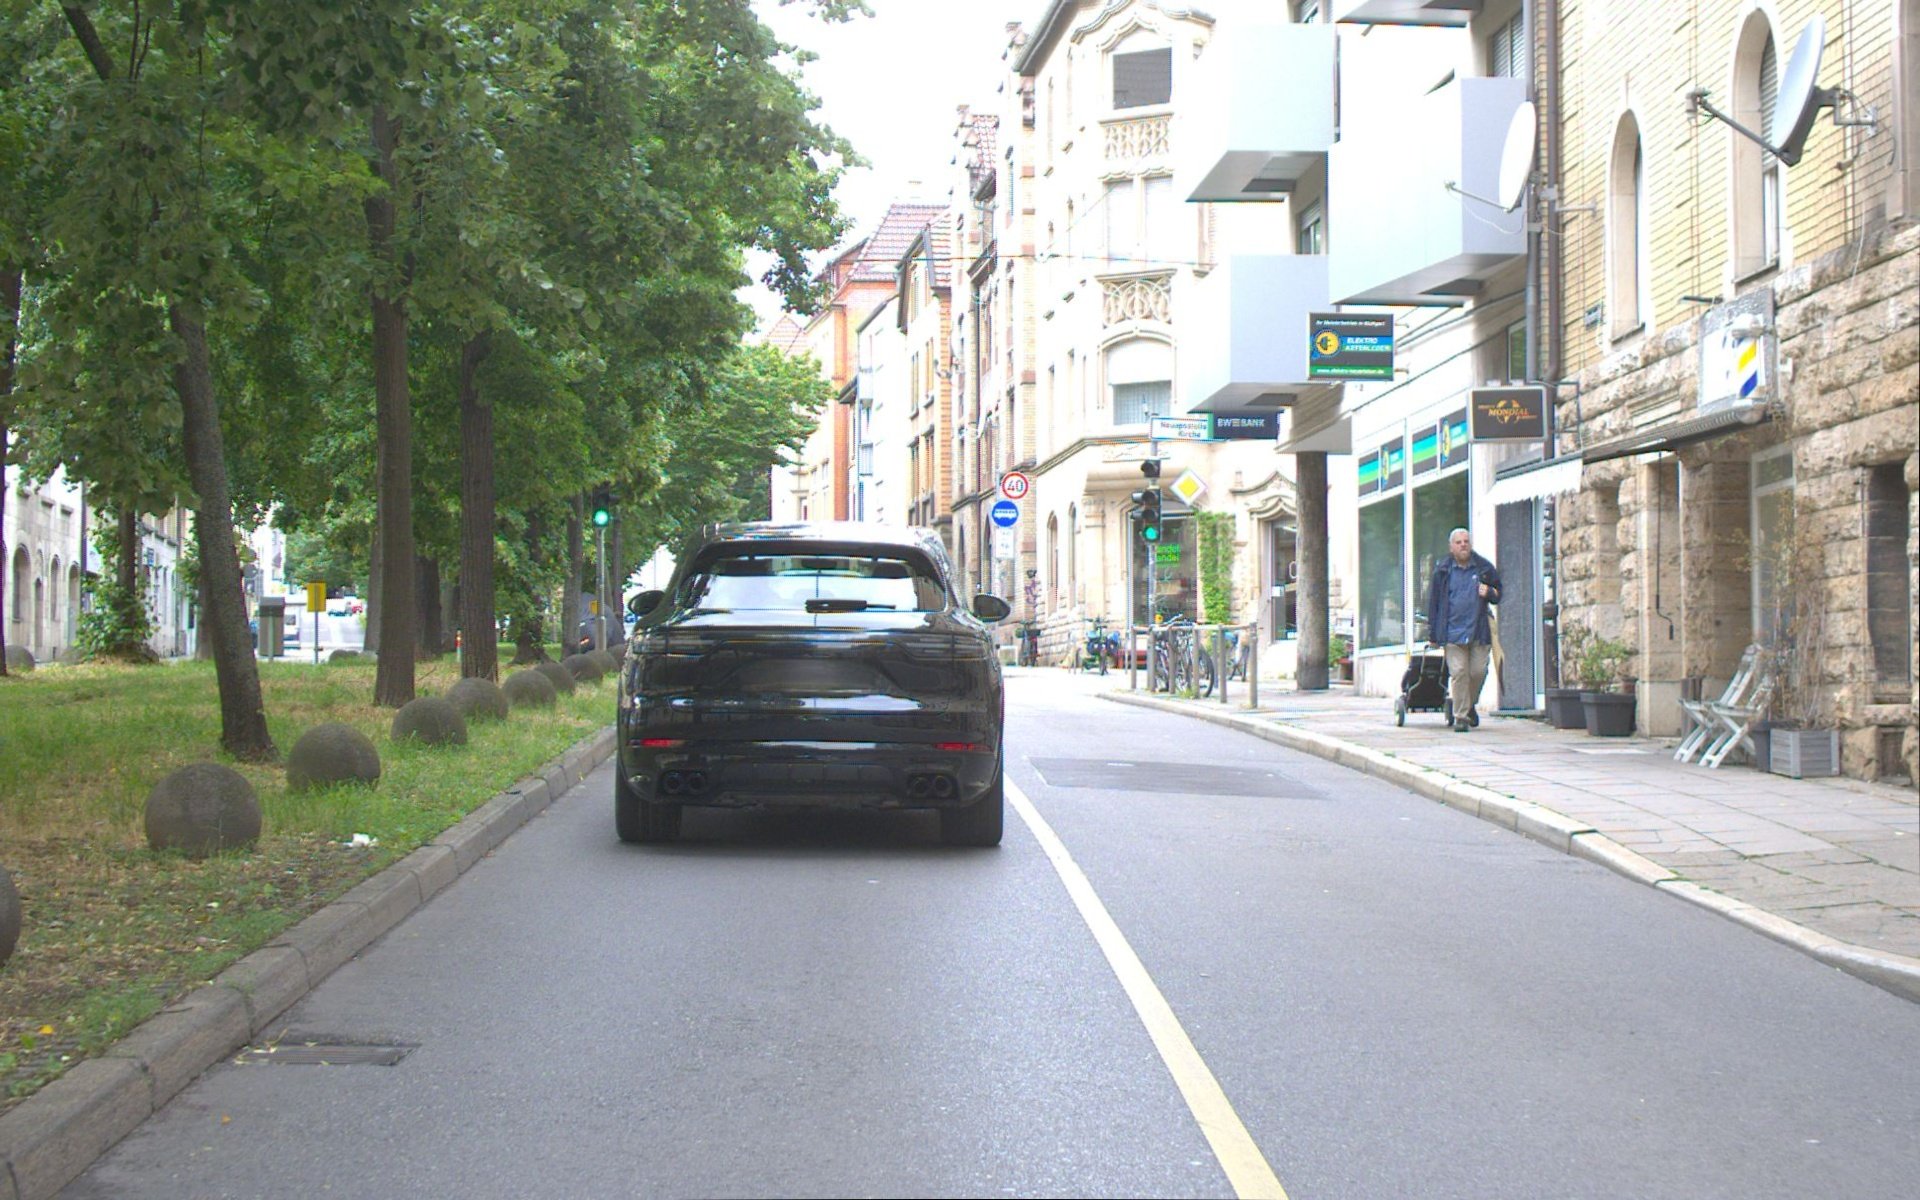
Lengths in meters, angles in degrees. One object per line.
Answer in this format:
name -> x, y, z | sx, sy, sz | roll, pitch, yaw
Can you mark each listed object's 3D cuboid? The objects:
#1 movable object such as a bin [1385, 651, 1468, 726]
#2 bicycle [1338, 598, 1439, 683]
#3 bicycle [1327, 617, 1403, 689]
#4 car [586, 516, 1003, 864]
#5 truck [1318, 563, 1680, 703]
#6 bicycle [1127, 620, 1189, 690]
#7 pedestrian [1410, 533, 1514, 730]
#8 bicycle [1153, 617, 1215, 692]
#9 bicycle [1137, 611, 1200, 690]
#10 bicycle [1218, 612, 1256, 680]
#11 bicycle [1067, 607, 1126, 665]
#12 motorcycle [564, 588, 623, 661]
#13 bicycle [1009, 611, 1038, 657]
movable object such as a bin -> 4.188, 0.792, 30.913 | 0.607, 0.666, 0.858 | 0, -1, -1
bicycle -> 6.086, 0.572, 48.875 | 0.318, 1.194, 1.761 | 2, -1, -35
bicycle -> 5.913, 0.773, 50.267 | 0.318, 1.040, 1.761 | 1, -1, -20
car -> -0.835, 0.403, 18.619 | 1.993, 1.660, 4.000 | 1, 1, -1
truck -> 9.211, 0.559, 58.909 | 5.557, 2.126, 2.382 | 3, -1, -12
bicycle -> 2.676, 0.740, 46.616 | 0.286, 0.928, 1.761 | 1, -1, -15
pedestrian -> 4.384, 0.278, 30.061 | 0.751, 1.687, 0.858 | 0, -1, -1
bicycle -> 2.844, 0.694, 43.787 | 0.569, 0.928, 1.775 | 1, -1, -3
bicycle -> 2.843, 0.687, 46.941 | 0.286, 1.051, 1.761 | 1, -1, -15
bicycle -> 5.405, 0.898, 67.063 | 0.446, 1.157, 1.835 | -1, 4, -4
bicycle -> 2.726, 0.734, 69.016 | 0.879, 1.125, 2.979 | 1, -1, -3
motorcycle -> -7.385, 0.505, 69.353 | 1.019, 1.441, 2.247 | -1, -1, -3
bicycle -> 1.467, 0.809, 80.128 | 0.446, 1.033, 2.248 | 0, -2, -5
